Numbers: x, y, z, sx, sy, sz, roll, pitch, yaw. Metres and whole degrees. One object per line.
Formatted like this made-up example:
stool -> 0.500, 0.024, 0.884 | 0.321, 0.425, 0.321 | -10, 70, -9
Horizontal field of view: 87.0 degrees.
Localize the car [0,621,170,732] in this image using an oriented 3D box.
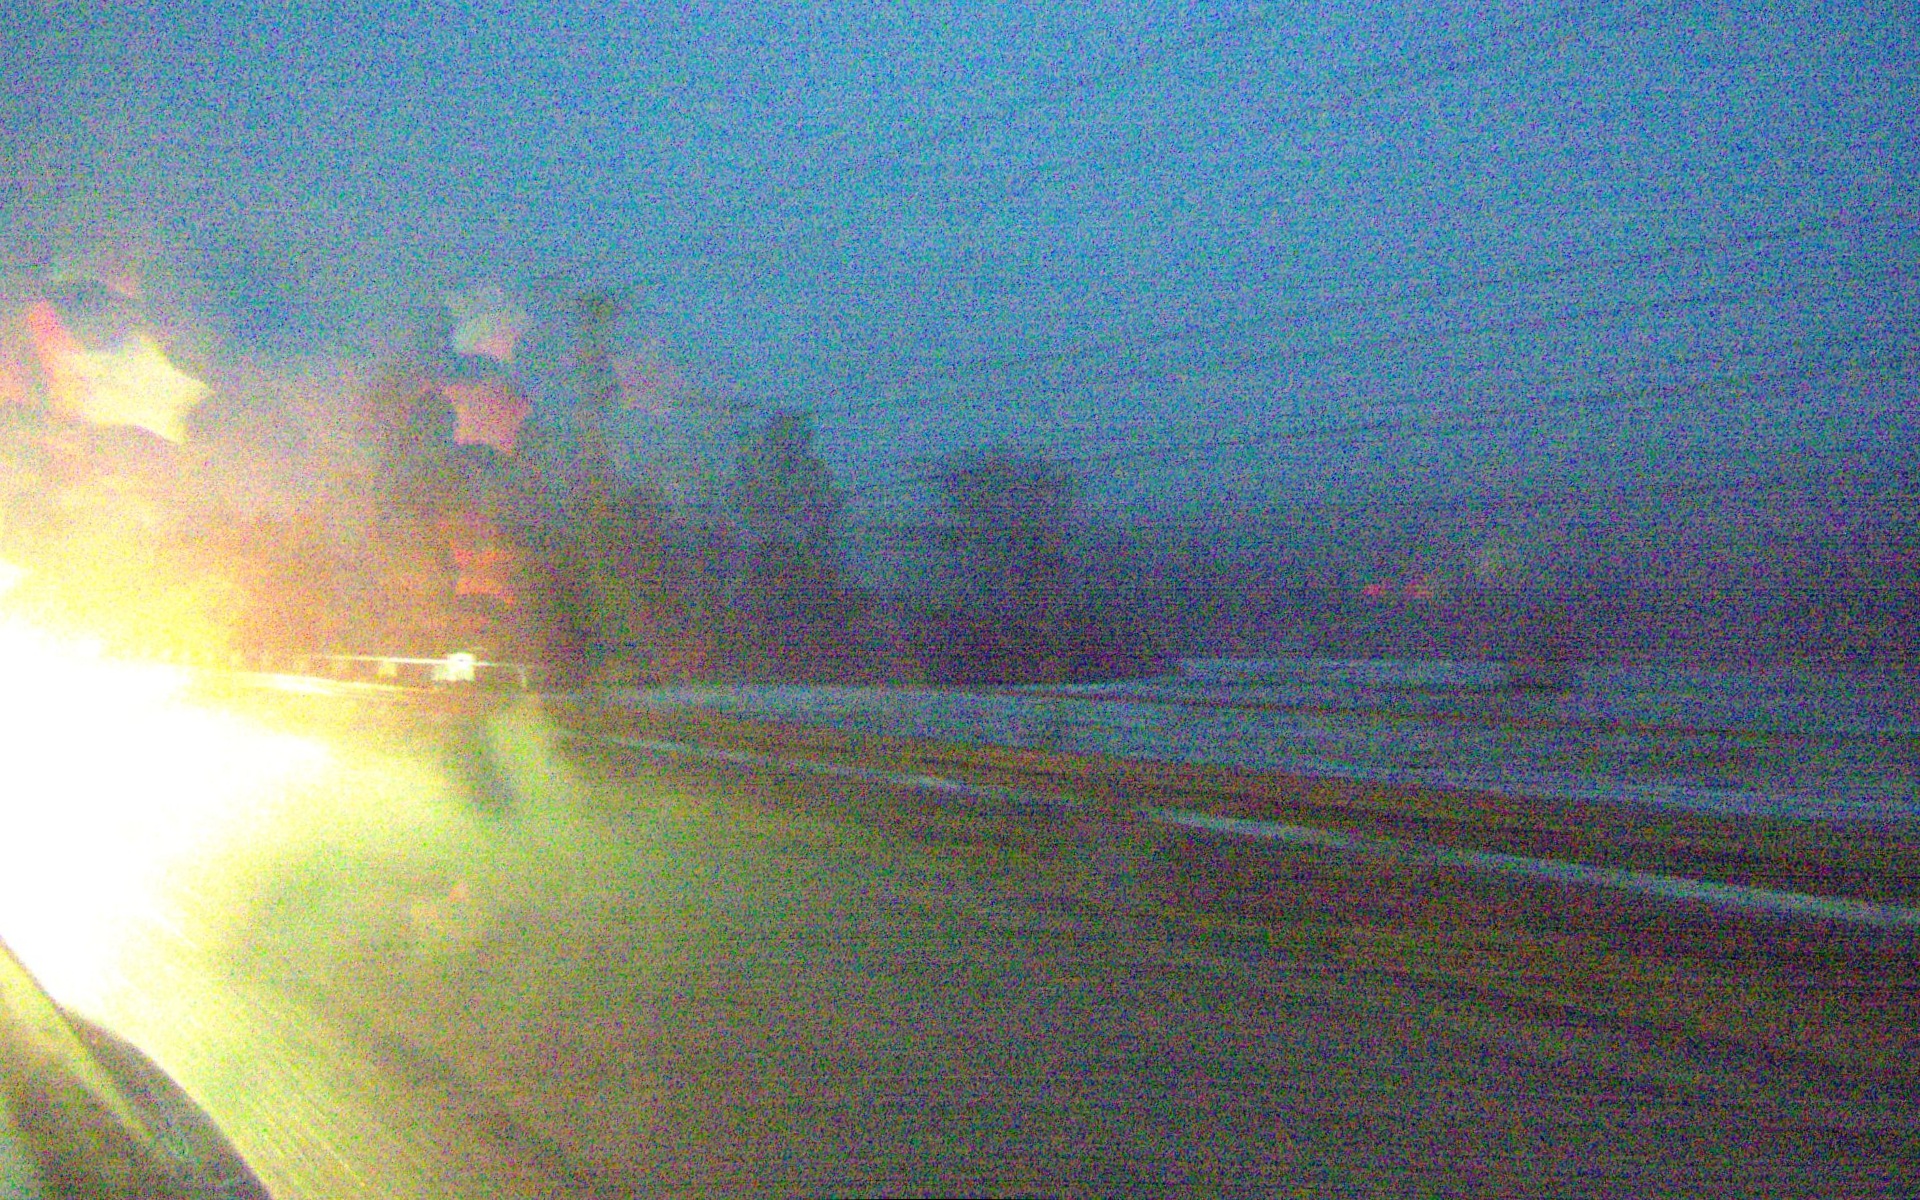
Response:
car -> -14.201, 1.150, 16.050 | 4.487, 1.531, 1.747 | -2, -4, 41
